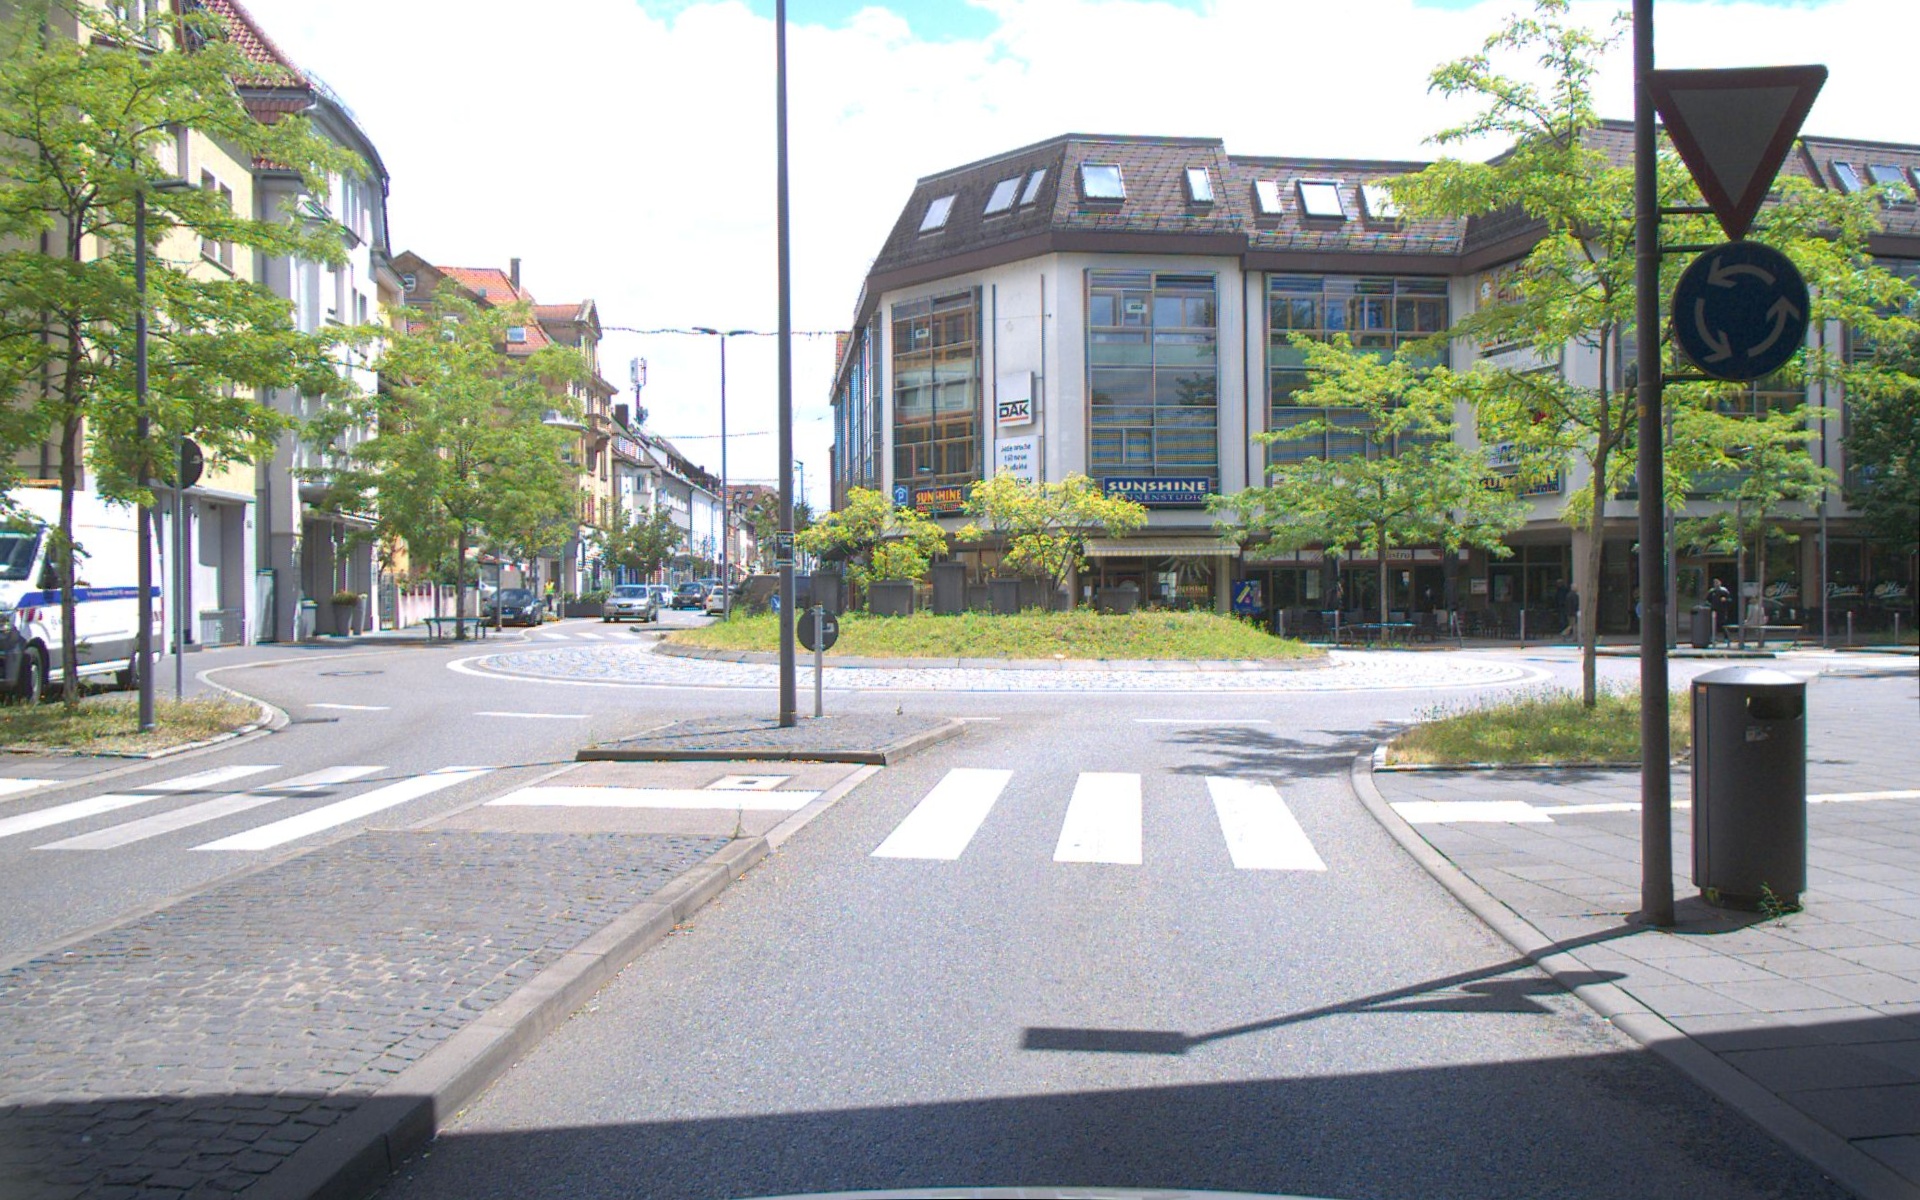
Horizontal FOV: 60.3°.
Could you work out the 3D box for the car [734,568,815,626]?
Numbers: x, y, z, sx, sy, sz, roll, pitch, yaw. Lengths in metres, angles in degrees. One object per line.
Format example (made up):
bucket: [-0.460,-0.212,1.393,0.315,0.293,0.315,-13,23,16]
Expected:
car: [-5.975,-0.108,52.945,1.795,1.737,4.419,2,0,-17]

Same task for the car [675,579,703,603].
car: [-16.485,-0.556,100.577,1.678,1.378,3.991,0,1,-10]

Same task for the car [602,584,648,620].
car: [-13.348,0.074,66.092,1.678,1.378,3.991,0,1,-10]

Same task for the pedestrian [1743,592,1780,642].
pedestrian: [21.404,0.449,44.178,0.603,1.307,0.697,0,0,-5]

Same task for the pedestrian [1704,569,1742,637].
pedestrian: [21.421,0.077,46.453,0.605,1.850,0.696,-4,1,-12]

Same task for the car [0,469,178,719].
car: [-11.497,-0.110,20.309,1.932,2.652,5.915,1,0,-11]

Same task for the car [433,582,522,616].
car: [-25.695,-0.066,88.052,4.357,1.807,1.987,0,0,-22]

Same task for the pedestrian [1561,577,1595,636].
pedestrian: [17.807,0.184,47.660,0.688,1.704,0.611,0,0,-30]

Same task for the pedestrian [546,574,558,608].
pedestrian: [-20.653,-0.433,83.648,0.541,1.715,0.515,0,0,-10]

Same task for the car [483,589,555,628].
car: [-15.374,0.279,57.828,1.676,1.267,4.407,0,1,-5]

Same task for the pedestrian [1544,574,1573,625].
pedestrian: [19.819,-0.017,54.769,0.685,1.704,0.614,0,0,-18]

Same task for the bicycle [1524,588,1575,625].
bicycle: [19.413,0.223,54.453,1.508,1.188,0.495,1,-1,27]

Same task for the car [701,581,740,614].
car: [-11.604,-0.113,80.334,1.790,1.546,4.226,-1,0,-7]

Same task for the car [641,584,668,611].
car: [-19.926,-0.176,107.847,1.678,1.742,3.991,0,1,-10]
